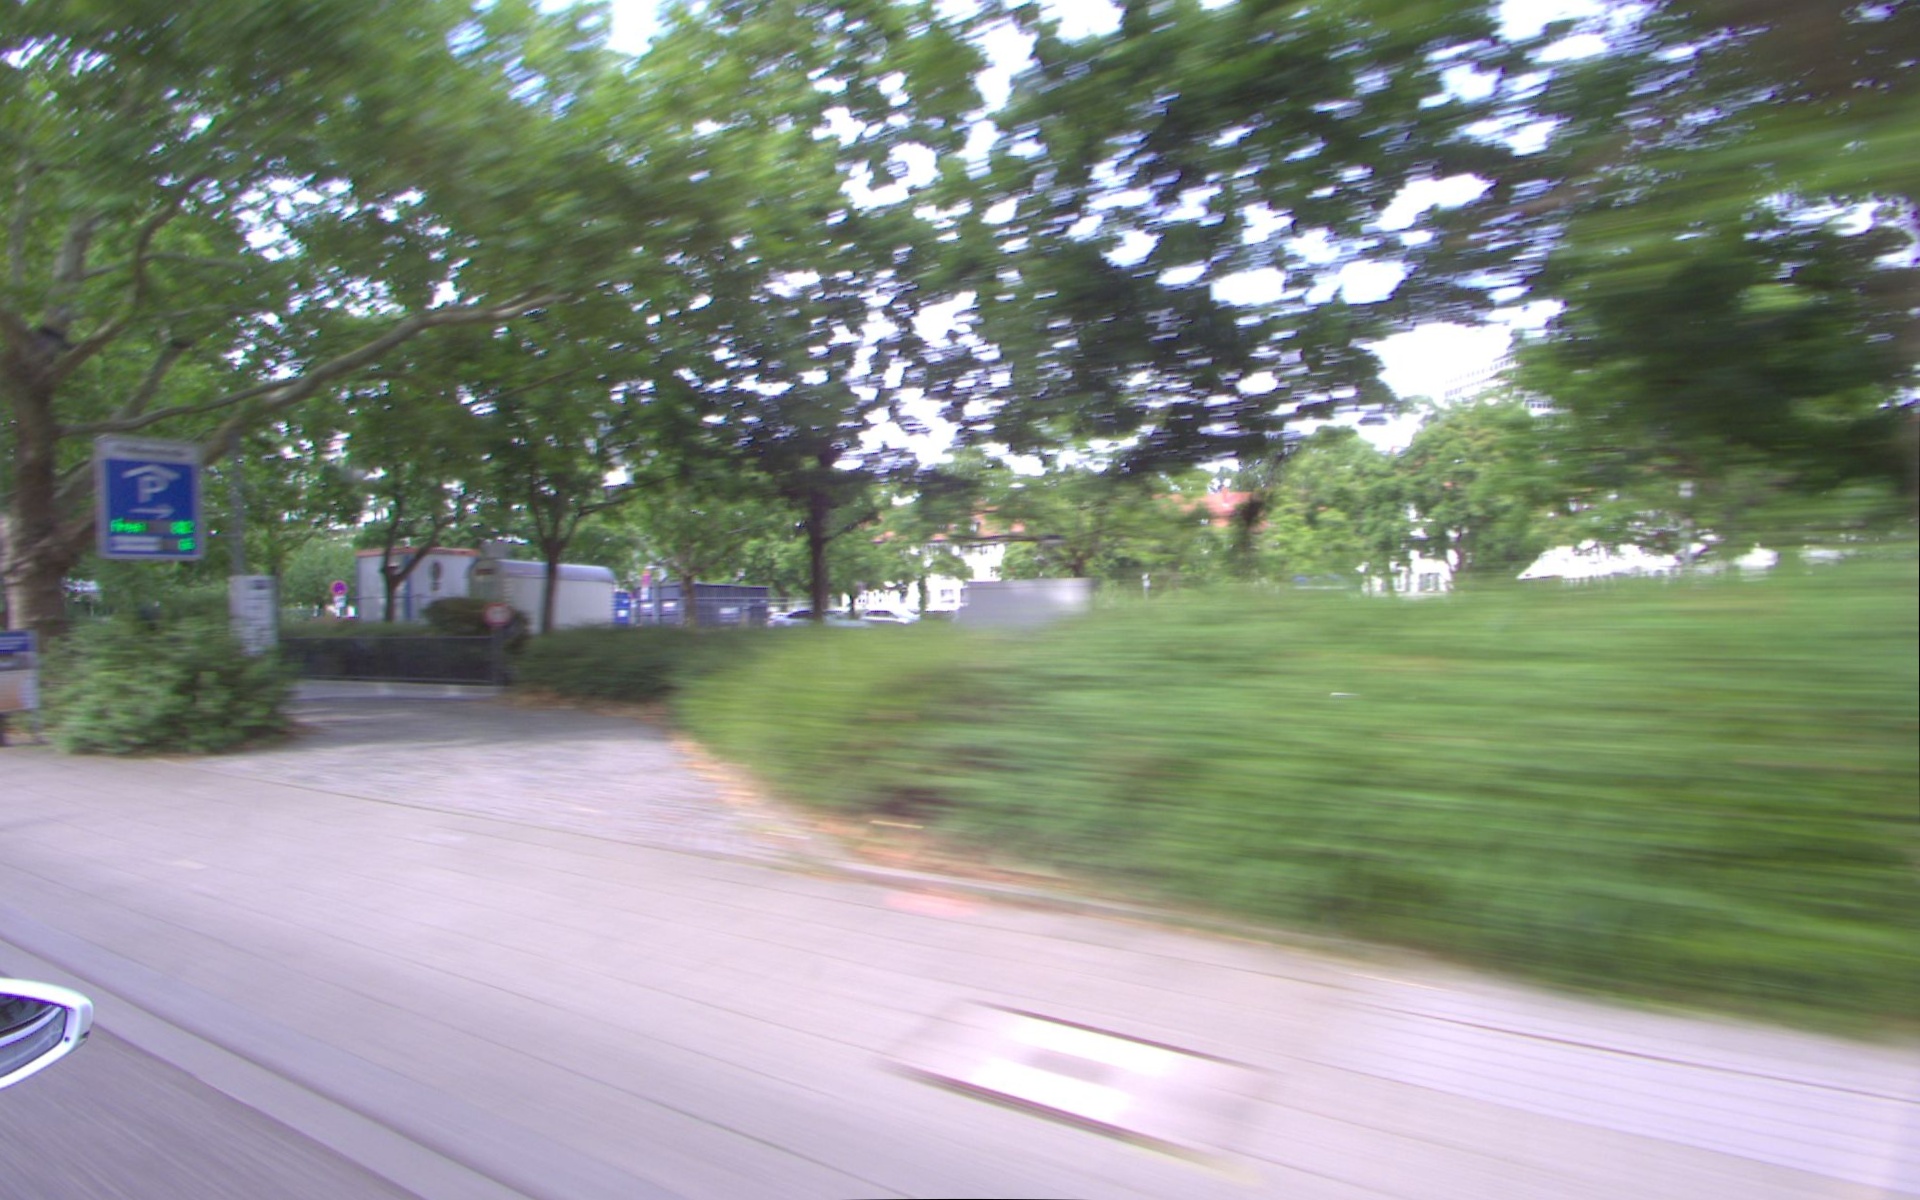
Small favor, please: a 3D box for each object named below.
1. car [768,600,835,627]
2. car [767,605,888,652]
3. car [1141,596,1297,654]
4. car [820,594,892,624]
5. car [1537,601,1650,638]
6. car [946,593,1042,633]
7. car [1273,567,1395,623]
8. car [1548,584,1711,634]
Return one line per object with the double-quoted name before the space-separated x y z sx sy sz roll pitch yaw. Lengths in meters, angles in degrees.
"car" -10.044 0.870 63.415 3.732 1.601 1.992 -1 -2 30
"car" -5.466 1.166 41.165 4.701 1.817 1.992 -1 -2 30
"car" 8.604 0.838 33.324 4.701 1.817 1.992 -1 -2 30
"car" -7.293 0.648 70.189 4.701 2.039 1.992 -1 -2 30
"car" 31.982 1.010 50.751 4.701 1.817 1.992 -1 -2 30
"car" 1.779 0.727 53.120 4.699 2.039 1.993 -1 -2 28
"car" 18.764 -0.170 50.303 5.414 2.647 2.433 -1 -2 30
"car" 23.724 0.353 35.644 4.707 1.651 1.989 -1 -2 34
